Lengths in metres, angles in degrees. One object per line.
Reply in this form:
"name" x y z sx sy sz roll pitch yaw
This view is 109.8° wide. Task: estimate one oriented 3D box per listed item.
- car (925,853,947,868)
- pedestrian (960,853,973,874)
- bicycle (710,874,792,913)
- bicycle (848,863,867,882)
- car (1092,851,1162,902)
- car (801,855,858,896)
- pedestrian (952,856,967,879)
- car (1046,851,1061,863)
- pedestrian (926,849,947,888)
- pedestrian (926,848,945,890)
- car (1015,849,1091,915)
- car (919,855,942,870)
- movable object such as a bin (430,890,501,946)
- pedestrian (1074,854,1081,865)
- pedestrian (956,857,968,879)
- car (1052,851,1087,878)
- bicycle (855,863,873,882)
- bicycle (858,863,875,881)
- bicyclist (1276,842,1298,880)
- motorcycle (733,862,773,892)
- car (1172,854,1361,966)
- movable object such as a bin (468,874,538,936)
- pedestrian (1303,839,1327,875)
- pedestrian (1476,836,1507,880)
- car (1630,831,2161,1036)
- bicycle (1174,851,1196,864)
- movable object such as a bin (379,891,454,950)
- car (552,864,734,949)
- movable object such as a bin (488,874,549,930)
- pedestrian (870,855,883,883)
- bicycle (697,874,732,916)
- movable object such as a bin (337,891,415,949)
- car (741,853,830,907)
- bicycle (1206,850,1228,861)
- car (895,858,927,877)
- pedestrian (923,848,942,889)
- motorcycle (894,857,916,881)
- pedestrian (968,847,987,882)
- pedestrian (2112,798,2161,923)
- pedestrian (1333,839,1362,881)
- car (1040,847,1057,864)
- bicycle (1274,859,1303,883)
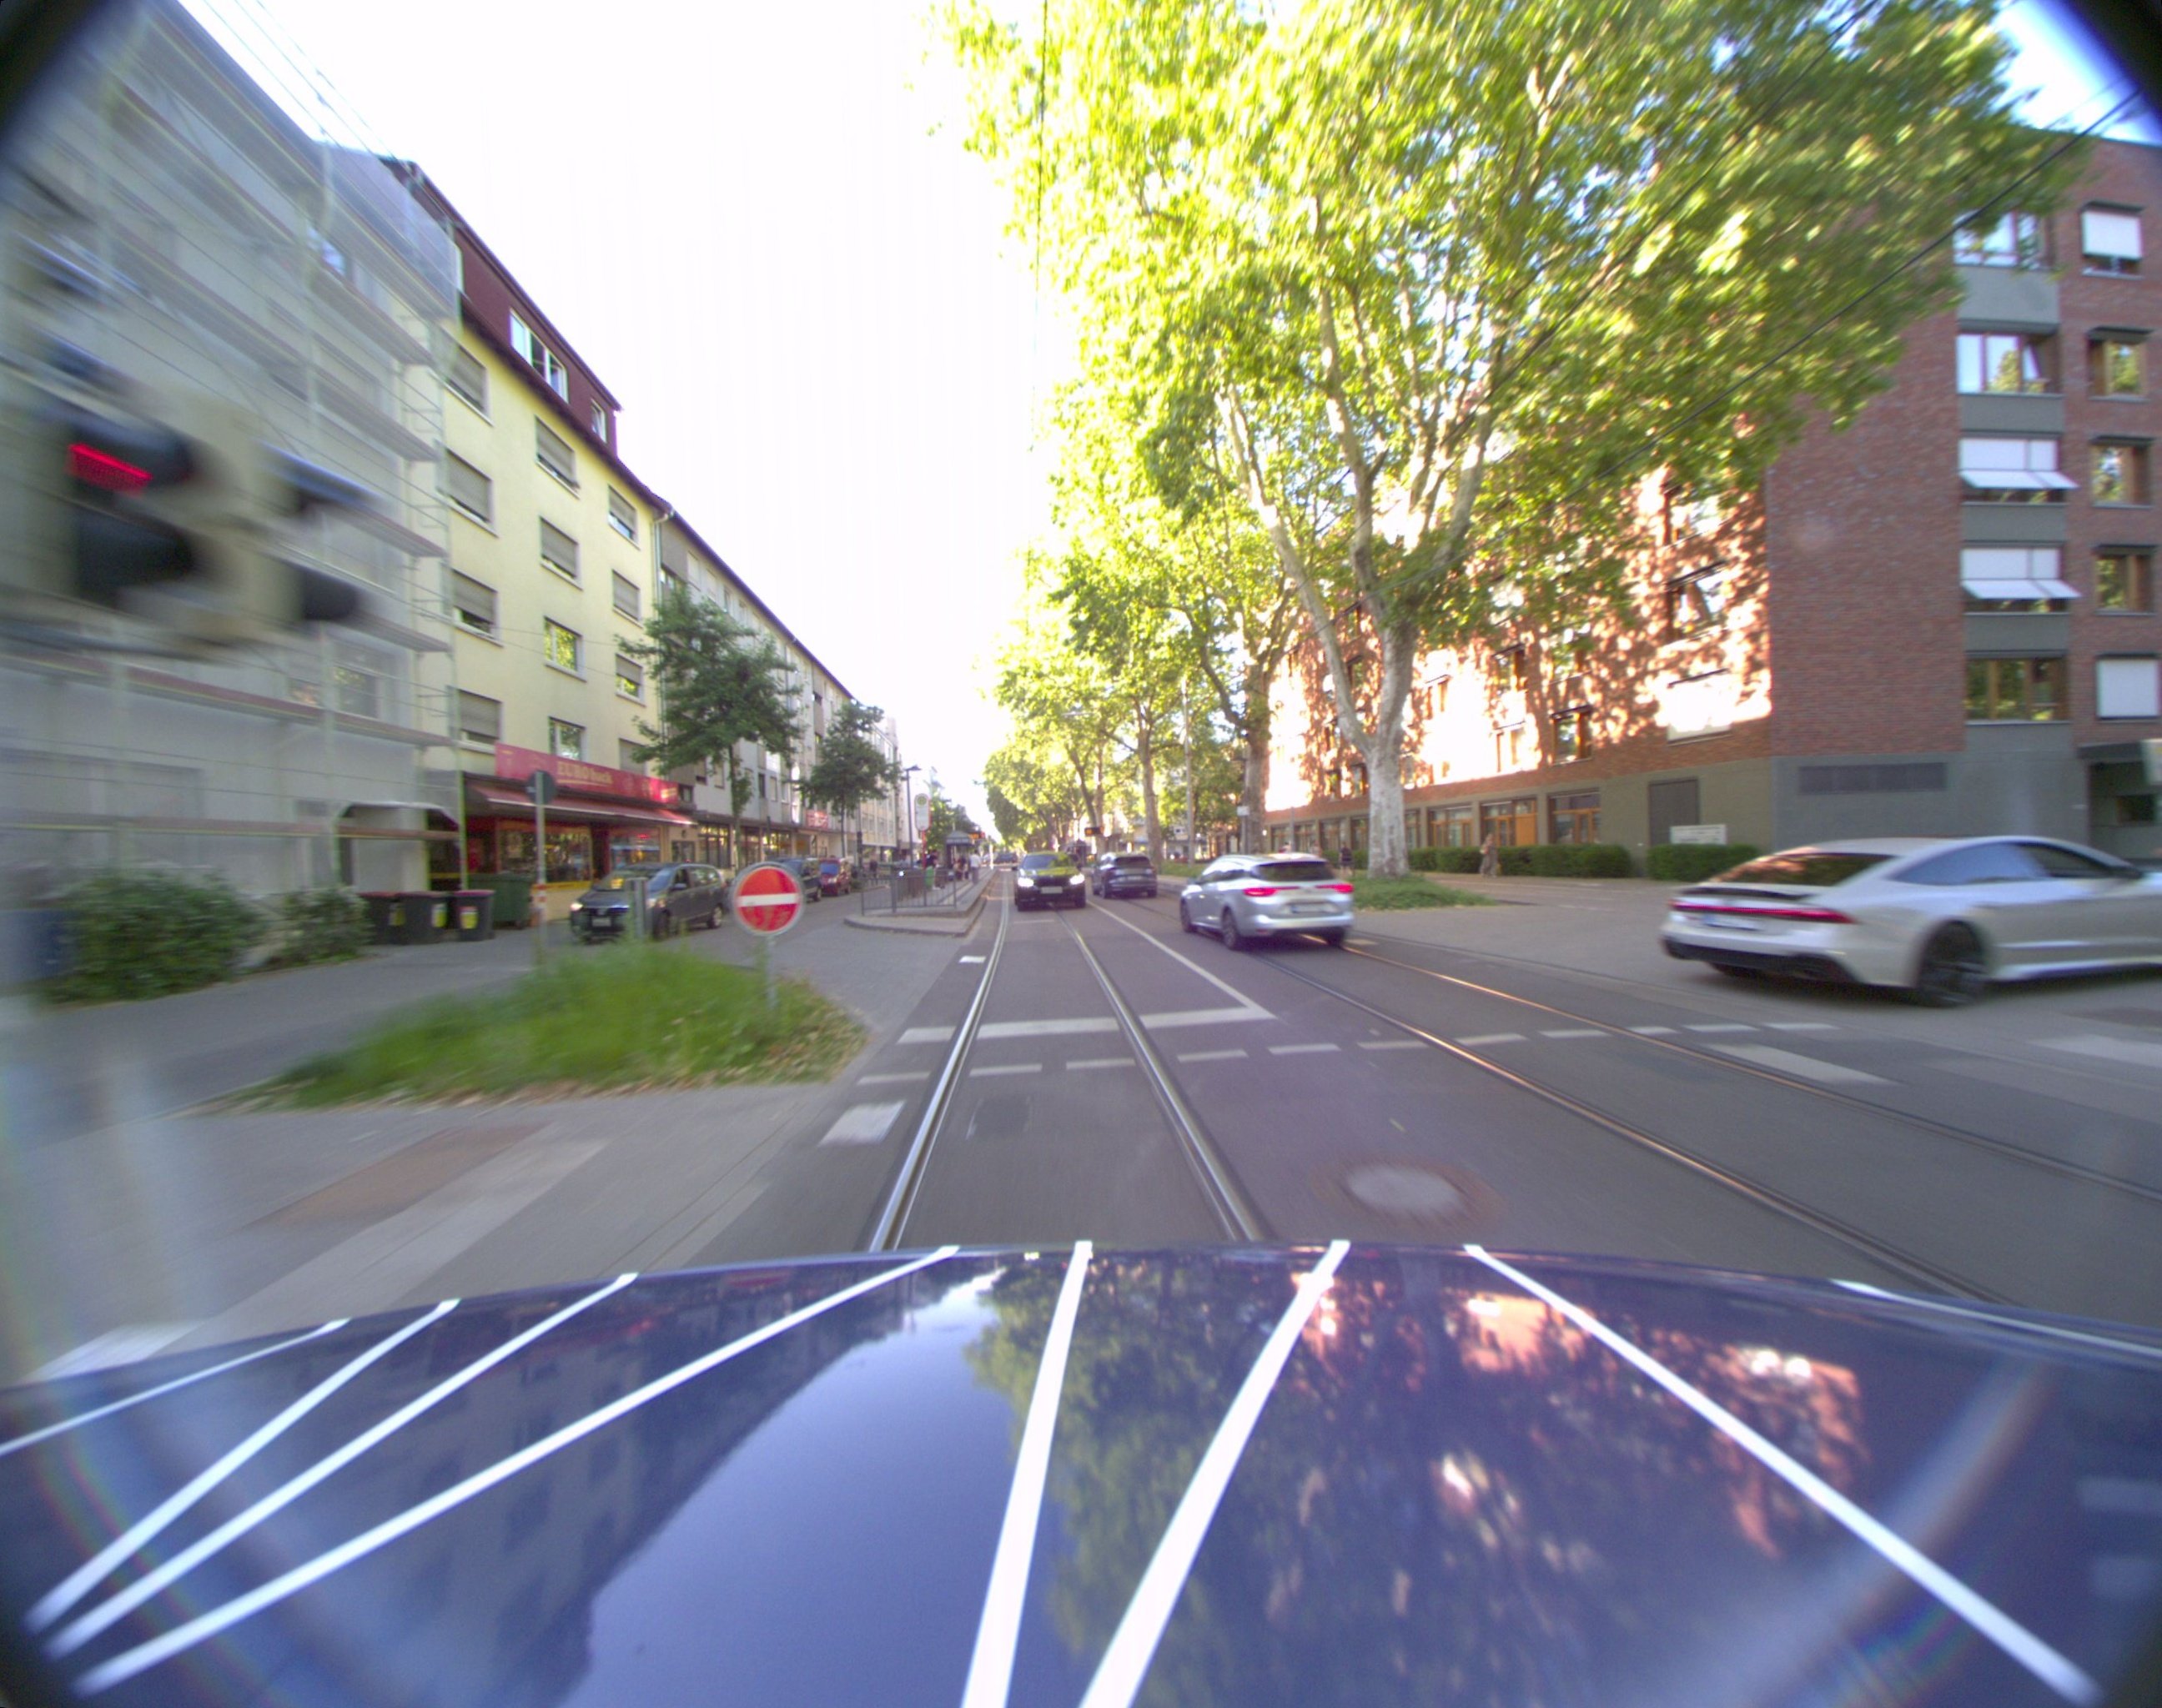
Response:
"car" -16.390 0.710 86.115 1.999 1.572 3.998 -3 1 -5
"pedestrian" -8.590 0.721 57.137 0.648 1.567 0.855 -3 1 12
"bicycle" -10.767 1.275 24.860 2.211 1.202 1.029 0 1 -5
"bicycle" -14.397 1.175 49.028 0.774 1.173 2.781 3 -2 -10
"car" 1.559 0.744 27.287 1.914 1.628 4.318 -1 1 -5
"car" -11.856 0.953 36.077 1.694 1.745 4.171 -3 1 -7
"pedestrian" -7.234 0.824 45.178 0.721 1.318 0.492 -3 1 -16
"car" -4.595 0.434 125.987 2.042 1.881 5.070 -4 1 -6
"pedestrian" -6.489 0.637 34.127 0.847 1.691 0.692 -3 1 -12
"pedestrian" -6.251 0.624 32.605 0.690 1.745 0.579 -3 1 -12
"car" -1.003 0.766 23.643 1.938 1.719 5.070 -4 1 -6
"car" -15.898 0.900 80.229 1.900 1.477 3.998 -3 1 -5
"movable object such as a bin" -12.849 1.326 15.885 0.883 1.104 0.696 -1 1 -8
"pedestrian" -0.363 0.595 84.278 0.708 1.197 0.473 -3 1 -4
"pedestrian" -7.156 0.818 45.689 0.586 1.298 0.526 -4 1 -16
"car" -0.866 0.666 53.047 1.999 1.706 5.140 -3 1 -6
"bicycle" -14.445 1.229 50.602 0.774 1.173 2.781 3 -2 -10
"bicycle" -14.875 1.248 52.662 0.774 1.173 2.781 3 -2 -10
"bicyclist" 9.823 0.332 36.172 0.702 1.777 0.838 -3 1 -4
"motorcycle" -15.208 1.070 35.322 0.955 1.309 2.649 3 -2 -7
"car" 2.859 0.776 12.716 1.780 1.452 4.202 -3 1 -5
"movable object such as a bin" -13.656 1.180 17.976 1.002 1.389 0.824 -1 1 -8
"pedestrian" 11.791 0.143 38.308 0.766 1.734 0.971 -3 1 -5
"pedestrian" 15.155 0.145 28.053 0.666 1.564 0.715 -3 1 -5
"car" 8.348 0.623 7.396 4.779 1.452 1.953 -3 1 -7
"bicycle" 10.478 0.392 76.686 2.099 1.182 0.881 -3 1 11
"movable object such as a bin" -13.395 1.332 15.338 0.883 1.104 0.696 -1 1 -8
"car" -9.595 1.063 17.122 1.767 1.612 4.440 0 0 -4
"movable object such as a bin" -14.026 1.186 18.979 0.926 1.342 0.824 -1 1 -8
"pedestrian" -13.555 0.990 50.408 0.680 1.794 0.772 -3 2 -12
"bicycle" -11.471 1.254 23.769 0.686 1.202 2.205 -1 1 -33
"movable object such as a bin" -14.158 1.311 15.281 0.883 1.104 0.696 -1 1 -8
"car" -11.296 0.943 29.351 1.999 1.885 4.192 1 0 -4
"bicycle" 13.730 0.169 76.814 0.823 1.088 2.033 -4 1 -43
"car" -15.267 1.171 68.489 1.959 1.474 4.658 -4 1 -3
"pedestrian" -6.516 0.629 33.383 0.493 1.760 0.704 -3 1 9
"motorcycle" -11.424 0.940 49.446 1.055 1.446 2.207 -3 1 -5
"pedestrian" -5.243 0.535 38.493 0.836 1.703 0.639 -3 1 -4
"pedestrian" 15.462 0.074 10.648 0.846 1.727 0.914 -3 1 -12
"pedestrian" 11.090 0.235 31.680 0.740 1.662 0.968 -3 1 -4
"car" -5.818 0.237 135.910 2.430 2.833 5.070 -4 1 -6
"bicycle" 9.853 0.781 36.152 0.717 1.057 1.838 -3 1 -4
